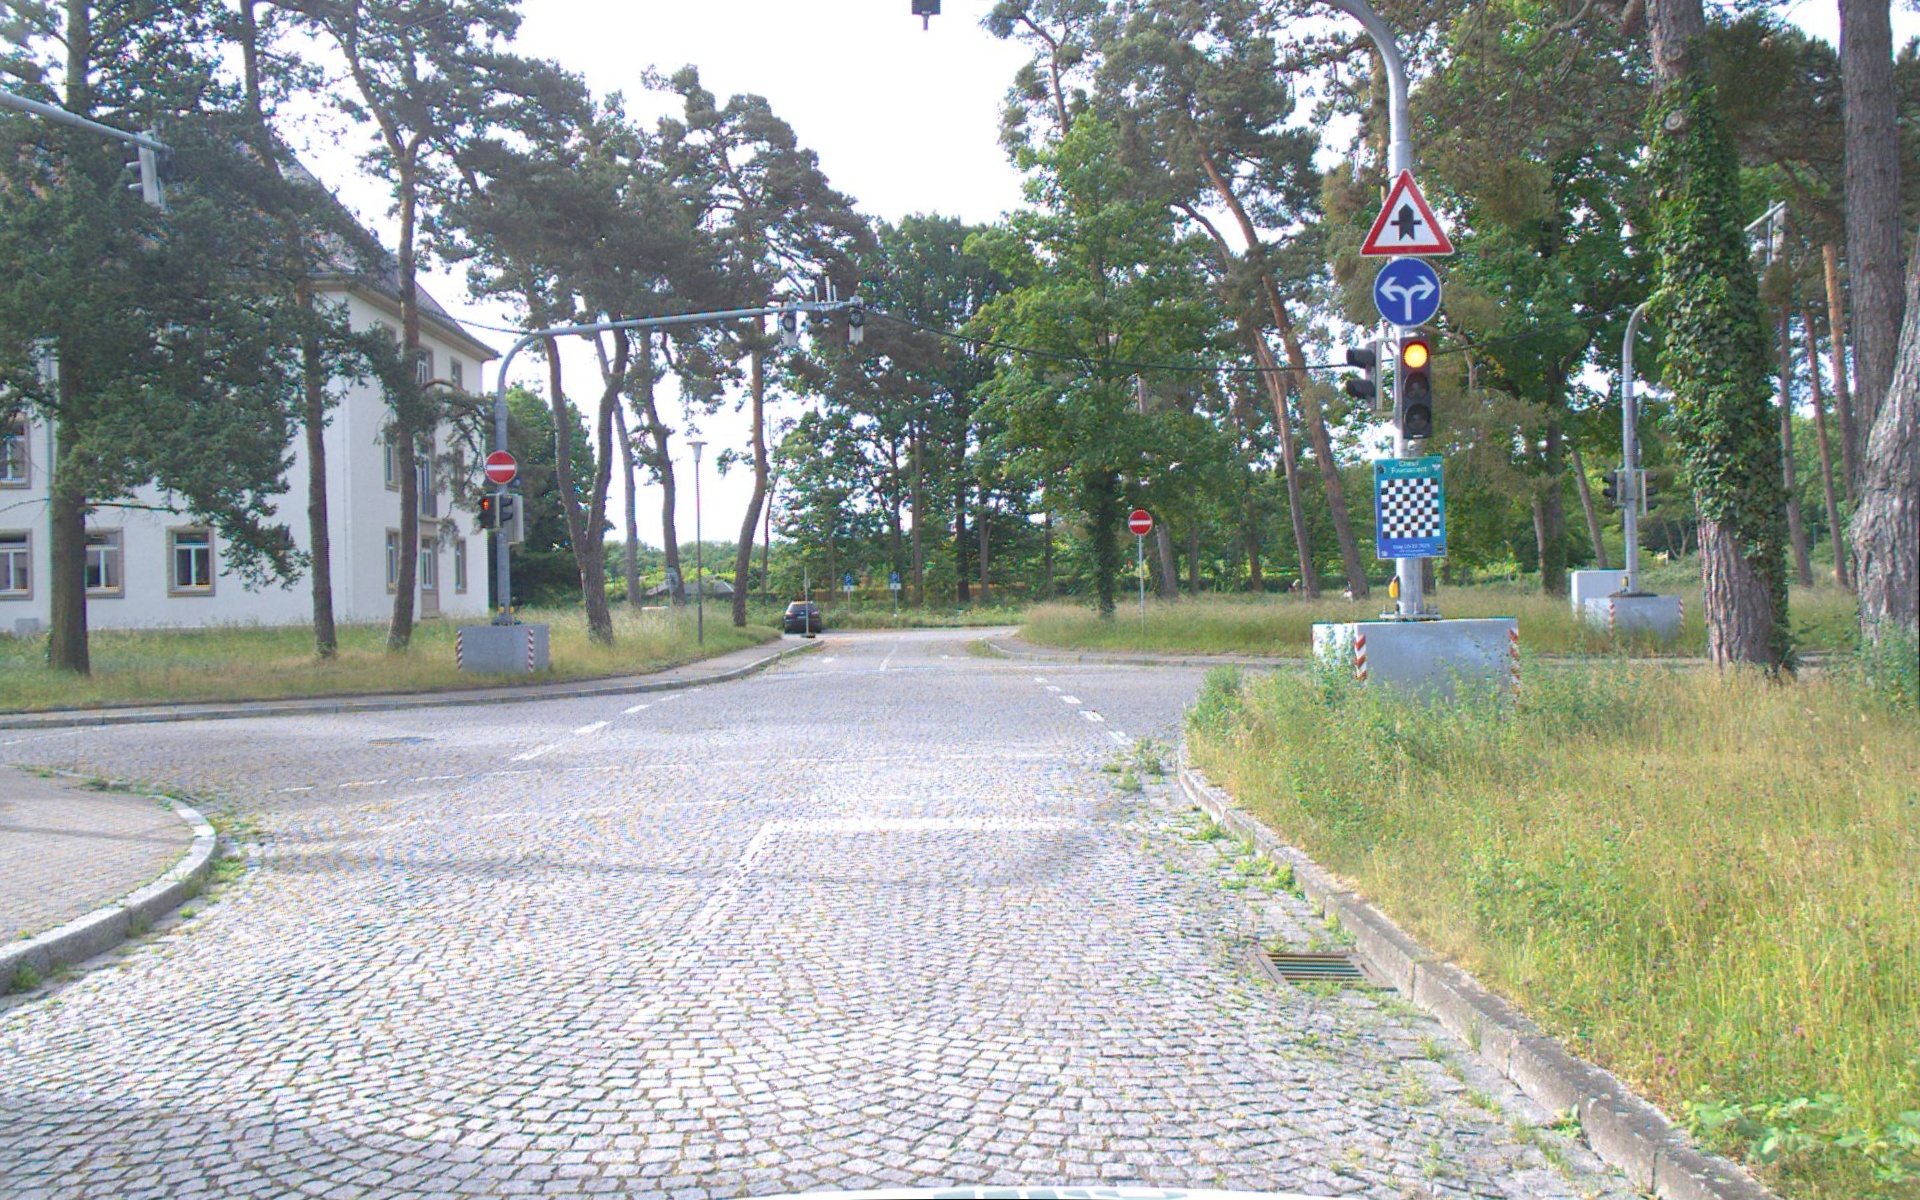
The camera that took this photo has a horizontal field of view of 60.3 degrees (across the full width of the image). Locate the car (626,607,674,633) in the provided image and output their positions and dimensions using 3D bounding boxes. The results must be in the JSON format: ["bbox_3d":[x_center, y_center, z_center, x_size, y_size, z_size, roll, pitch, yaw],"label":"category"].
[{"bbox_3d":[-15.481,0.998,82.788,1.654,1.176,4.000,-2,0,0],"label":"car"}]

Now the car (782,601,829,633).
[{"bbox_3d":[-7.612,0.812,81.902,1.953,1.534,4.000,0,0,0],"label":"car"}]
